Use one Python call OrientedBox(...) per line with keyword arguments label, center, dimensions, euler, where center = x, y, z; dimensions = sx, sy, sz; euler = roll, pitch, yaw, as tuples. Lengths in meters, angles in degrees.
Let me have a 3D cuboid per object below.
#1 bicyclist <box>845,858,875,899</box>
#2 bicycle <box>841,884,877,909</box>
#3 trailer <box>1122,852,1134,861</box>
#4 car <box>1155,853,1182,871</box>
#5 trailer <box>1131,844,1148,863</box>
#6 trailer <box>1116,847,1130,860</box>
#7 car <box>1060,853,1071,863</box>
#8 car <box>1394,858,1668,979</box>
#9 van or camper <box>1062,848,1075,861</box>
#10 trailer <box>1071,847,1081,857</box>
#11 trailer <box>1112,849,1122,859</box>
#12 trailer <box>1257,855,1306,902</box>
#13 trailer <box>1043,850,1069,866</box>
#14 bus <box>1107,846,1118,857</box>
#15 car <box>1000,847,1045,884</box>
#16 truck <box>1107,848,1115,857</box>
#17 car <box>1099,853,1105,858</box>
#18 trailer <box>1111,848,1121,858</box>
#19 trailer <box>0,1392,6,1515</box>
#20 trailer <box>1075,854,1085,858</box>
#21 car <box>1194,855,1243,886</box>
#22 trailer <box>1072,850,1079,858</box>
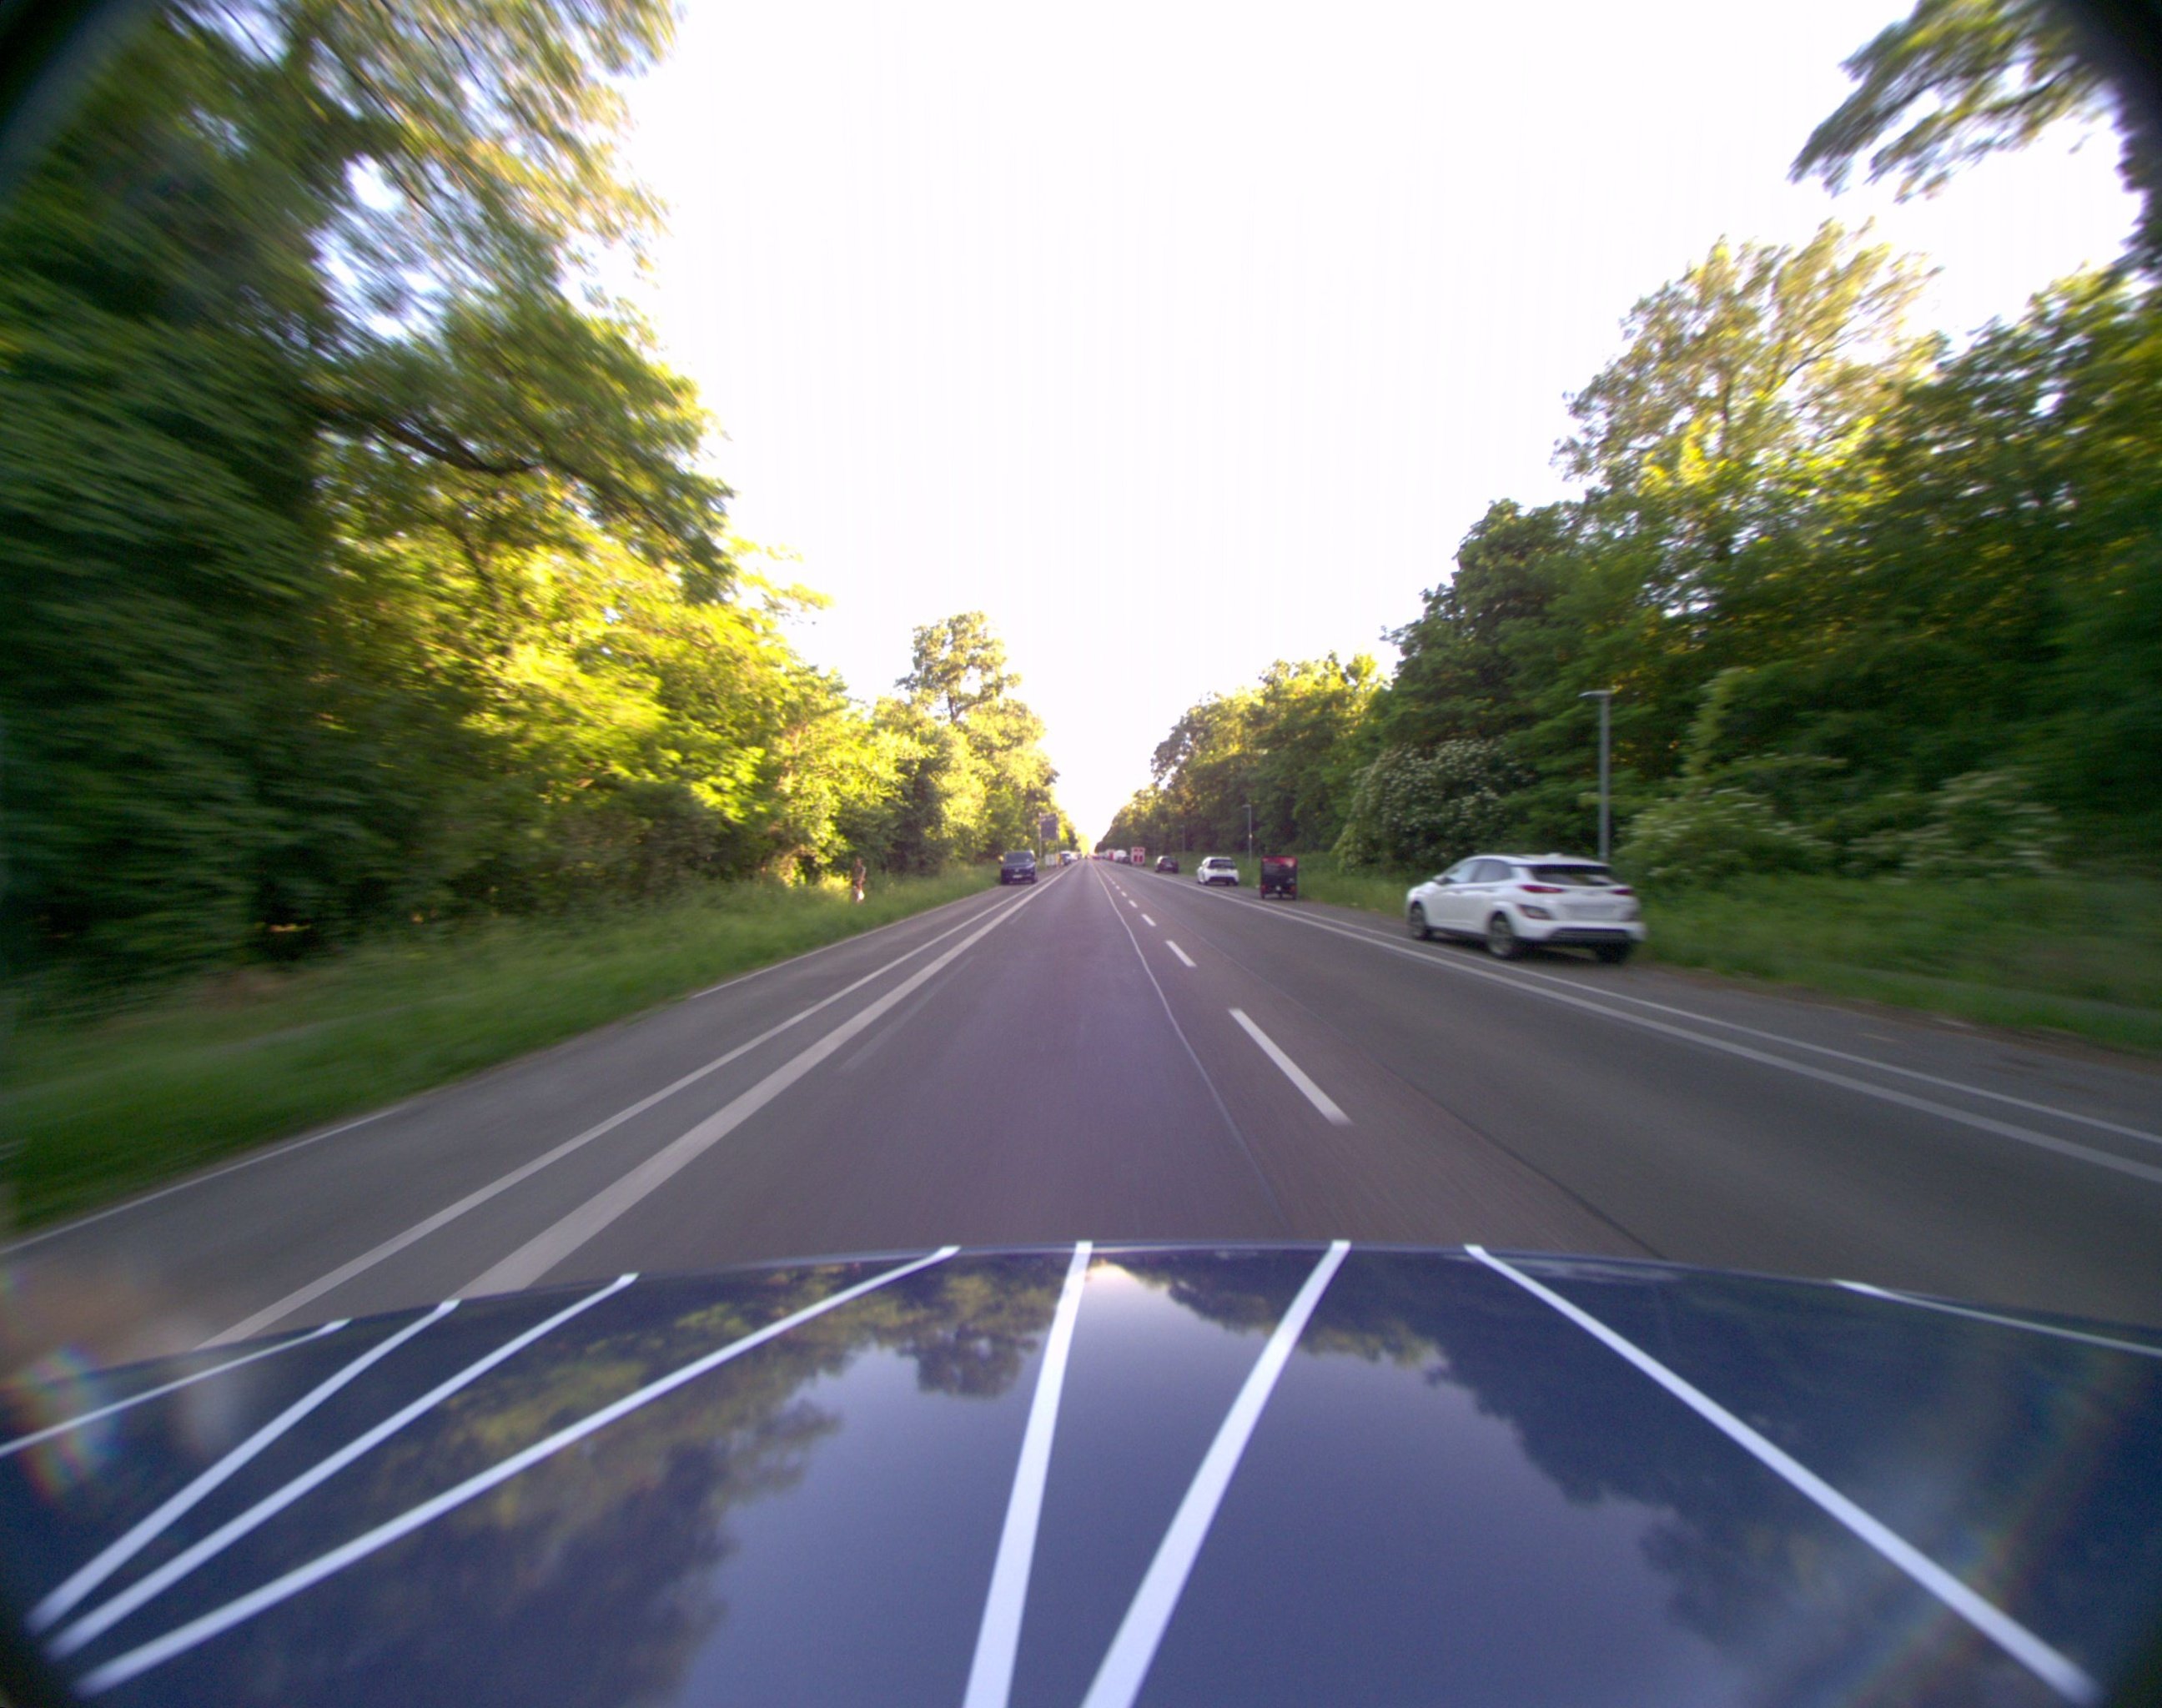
OrientedBox(label="bicyclist", center=(-7.524, 0.824, 25.884), dimensions=(0.612, 1.317, 1.175), euler=(-1, 1, 1))
OrientedBox(label="bicycle", center=(-7.516, 1.429, 25.774), dimensions=(0.592, 0.688, 1.996), euler=(-1, 0, 1))
OrientedBox(label="trailer", center=(8.388, 0.455, 135.231), dimensions=(1.846, 1.457, 4.466), euler=(-1, 0, 0))
OrientedBox(label="car", center=(7.592, 0.673, 66.557), dimensions=(1.859, 1.456, 4.784), euler=(-1, 0, 1))
OrientedBox(label="trailer", center=(8.169, -0.034, 106.074), dimensions=(1.998, 2.606, 4.085), euler=(-1, 0, 1))
OrientedBox(label="trailer", center=(8.547, -0.115, 154.735), dimensions=(2.352, 2.514, 4.343), euler=(0, 0, -3))
OrientedBox(label="car", center=(-2.384, 0.609, 117.891), dimensions=(1.590, 1.521, 3.011), euler=(-3, 0, 0))
OrientedBox(label="car", center=(6.889, 0.876, 12.259), dimensions=(1.819, 1.562, 4.206), euler=(1, 0, -1))
OrientedBox(label="van or camper", center=(-2.424, 0.118, 143.505), dimensions=(2.131, 2.468, 6.305), euler=(-1, 0, 2))
OrientedBox(label="trailer", center=(-1.467, -0.664, 234.929), dimensions=(2.928, 2.825, 9.881), euler=(-4, 1, 0))
OrientedBox(label="trailer", center=(8.291, -0.016, 175.476), dimensions=(2.072, 2.466, 3.560), euler=(0, 0, -3))
OrientedBox(label="trailer", center=(7.193, 0.847, 27.146), dimensions=(1.397, 1.565, 2.678), euler=(-1, 0, 21))
OrientedBox(label="trailer", center=(-3.088, 0.487, 95.707), dimensions=(1.964, 2.011, 3.849), euler=(-1, 0, 20))
OrientedBox(label="bus", center=(9.929, -0.776, 239.054), dimensions=(2.835, 3.411, 11.199), euler=(-2, 1, 1))
OrientedBox(label="car", center=(-3.437, 0.643, 45.463), dimensions=(2.119, 2.002, 5.039), euler=(-3, 0, 1))
OrientedBox(label="truck", center=(9.794, -0.441, 250.326), dimensions=(2.489, 2.807, 8.424), euler=(-1, 0, 1))
OrientedBox(label="car", center=(6.312, 0.348, 229.300), dimensions=(1.608, 1.412, 3.518), euler=(1, 0, 0))
OrientedBox(label="trailer", center=(8.815, -0.184, 191.748), dimensions=(2.072, 2.466, 3.560), euler=(0, 0, -3))
OrientedBox(label="trailer", center=(-4.098, 0.749, 1.194), dimensions=(1.616, 2.100, 2.399), euler=(-1, 1, 21))
OrientedBox(label="trailer", center=(-0.171, 0.498, 197.932), dimensions=(2.439, 0.794, 5.659), euler=(-2, 1, 1))
OrientedBox(label="car", center=(7.214, 0.832, 40.261), dimensions=(1.871, 1.442, 4.071), euler=(2, 0, 1))
OrientedBox(label="trailer", center=(-1.534, -0.044, 212.535), dimensions=(1.759, 2.149, 3.539), euler=(-1, 0, -1))
